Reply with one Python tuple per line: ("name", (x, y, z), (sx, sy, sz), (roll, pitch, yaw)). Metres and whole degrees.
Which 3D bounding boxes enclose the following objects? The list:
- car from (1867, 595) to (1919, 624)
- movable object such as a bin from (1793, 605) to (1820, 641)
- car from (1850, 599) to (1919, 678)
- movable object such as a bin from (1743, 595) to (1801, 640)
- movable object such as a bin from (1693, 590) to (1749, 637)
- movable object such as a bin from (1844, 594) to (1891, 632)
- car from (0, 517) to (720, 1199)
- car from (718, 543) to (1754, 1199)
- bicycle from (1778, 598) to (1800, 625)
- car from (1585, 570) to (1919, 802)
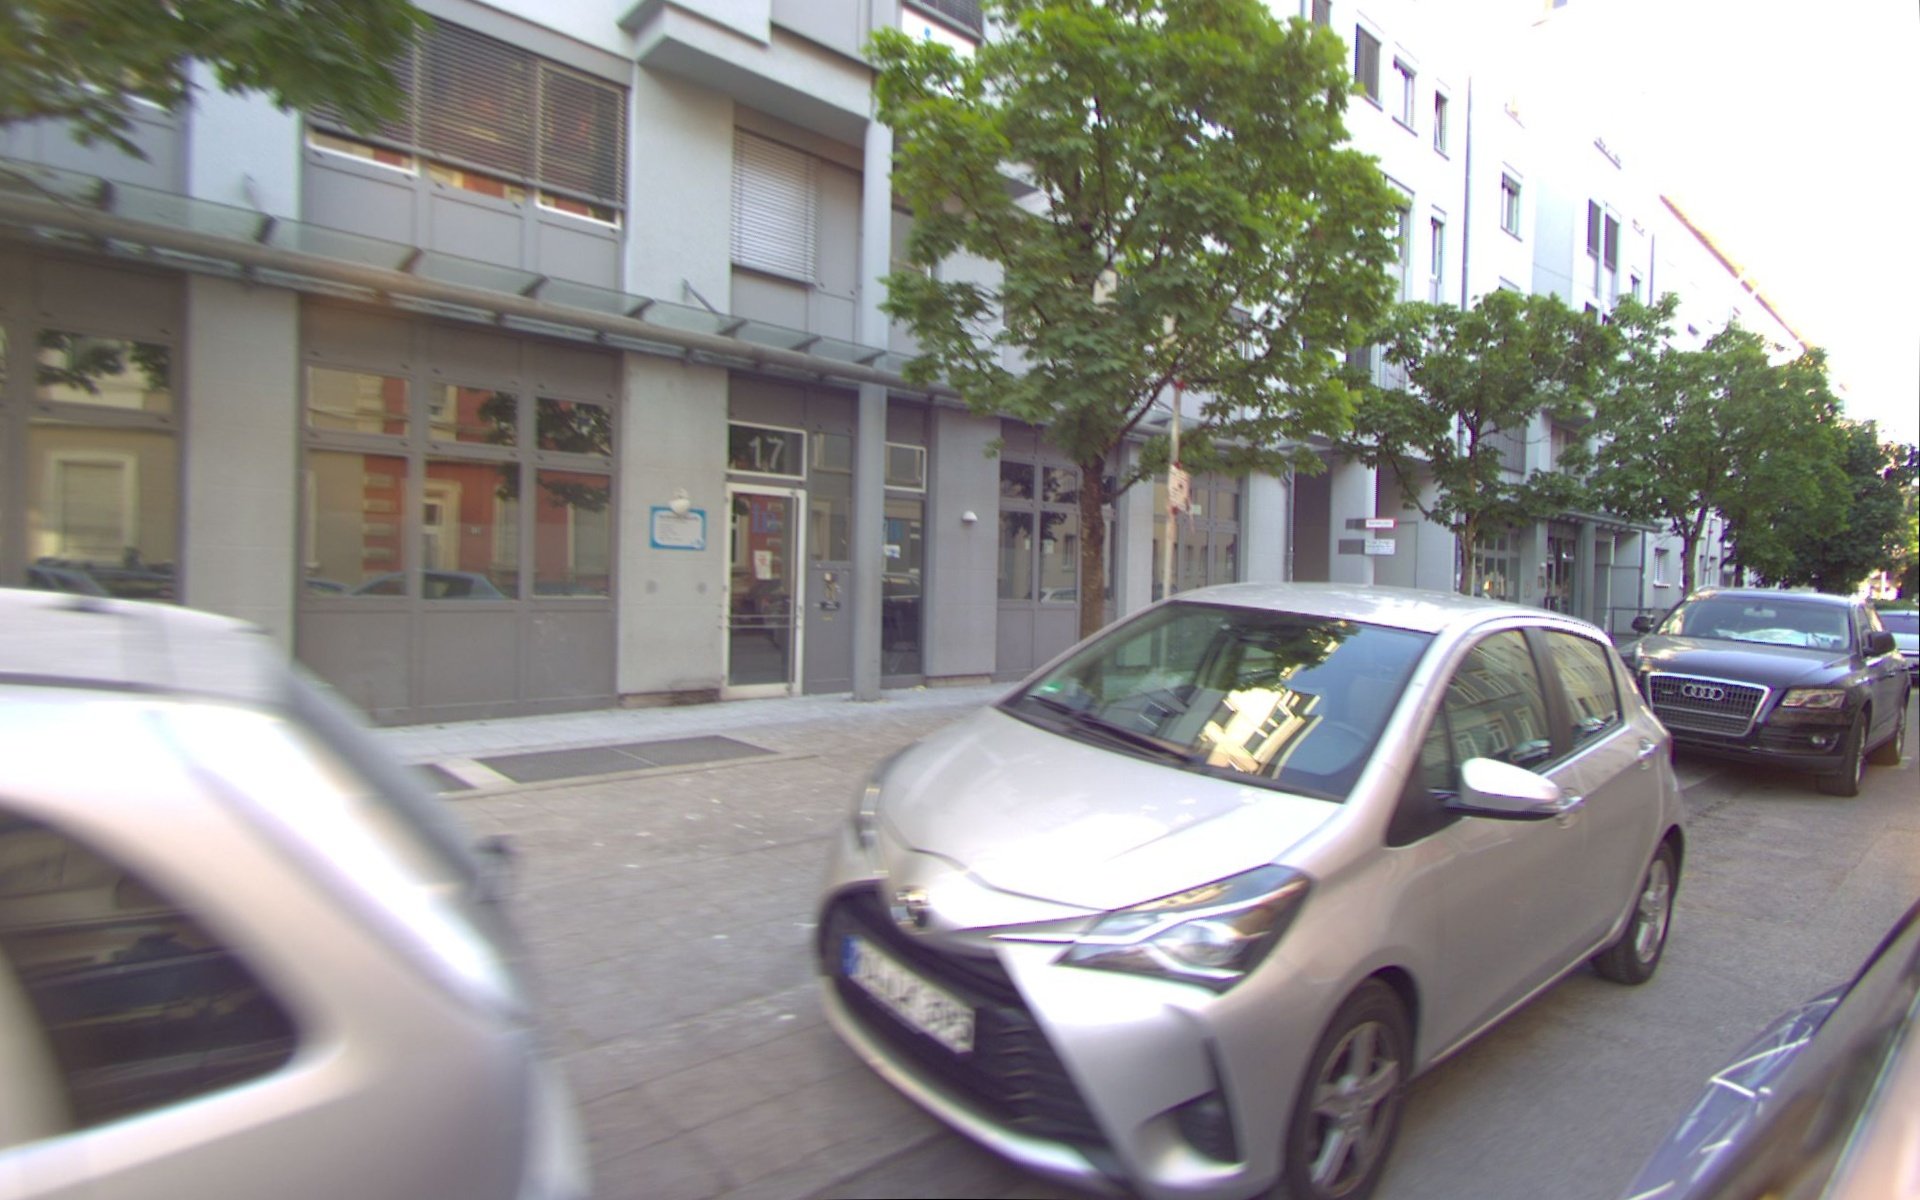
("car", (57.361, 0.593, 60.861), (1.967, 1.584, 3.992), (0, 3, -43))
("movable object such as a bin", (26.529, 0.728, 31.721), (0.615, 1.084, 0.529), (1, 2, -42))
("car", (19.650, 0.750, 20.620), (4.270, 1.446, 1.767), (0, 3, -42))
("movable object such as a bin", (26.182, 0.552, 32.625), (1.119, 1.337, 1.264), (0, 2, -42))
("movable object such as a bin", (25.143, 0.433, 33.440), (1.119, 1.454, 1.264), (0, 2, -42))
("movable object such as a bin", (37.241, 0.532, 41.540), (1.202, 1.454, 1.286), (0, 2, -42))
("car", (-2.248, 0.628, 0.712), (3.662, 1.494, 1.681), (0, 3, -39))
("car", (1.312, 0.654, 3.660), (3.901, 1.543, 1.680), (0, 3, -41))
("bicycle", (35.476, 0.480, 43.320), (0.599, 1.104, 1.717), (4, 3, 37))
("car", (7.759, 0.615, 9.628), (4.358, 1.642, 1.889), (0, 3, -42))
